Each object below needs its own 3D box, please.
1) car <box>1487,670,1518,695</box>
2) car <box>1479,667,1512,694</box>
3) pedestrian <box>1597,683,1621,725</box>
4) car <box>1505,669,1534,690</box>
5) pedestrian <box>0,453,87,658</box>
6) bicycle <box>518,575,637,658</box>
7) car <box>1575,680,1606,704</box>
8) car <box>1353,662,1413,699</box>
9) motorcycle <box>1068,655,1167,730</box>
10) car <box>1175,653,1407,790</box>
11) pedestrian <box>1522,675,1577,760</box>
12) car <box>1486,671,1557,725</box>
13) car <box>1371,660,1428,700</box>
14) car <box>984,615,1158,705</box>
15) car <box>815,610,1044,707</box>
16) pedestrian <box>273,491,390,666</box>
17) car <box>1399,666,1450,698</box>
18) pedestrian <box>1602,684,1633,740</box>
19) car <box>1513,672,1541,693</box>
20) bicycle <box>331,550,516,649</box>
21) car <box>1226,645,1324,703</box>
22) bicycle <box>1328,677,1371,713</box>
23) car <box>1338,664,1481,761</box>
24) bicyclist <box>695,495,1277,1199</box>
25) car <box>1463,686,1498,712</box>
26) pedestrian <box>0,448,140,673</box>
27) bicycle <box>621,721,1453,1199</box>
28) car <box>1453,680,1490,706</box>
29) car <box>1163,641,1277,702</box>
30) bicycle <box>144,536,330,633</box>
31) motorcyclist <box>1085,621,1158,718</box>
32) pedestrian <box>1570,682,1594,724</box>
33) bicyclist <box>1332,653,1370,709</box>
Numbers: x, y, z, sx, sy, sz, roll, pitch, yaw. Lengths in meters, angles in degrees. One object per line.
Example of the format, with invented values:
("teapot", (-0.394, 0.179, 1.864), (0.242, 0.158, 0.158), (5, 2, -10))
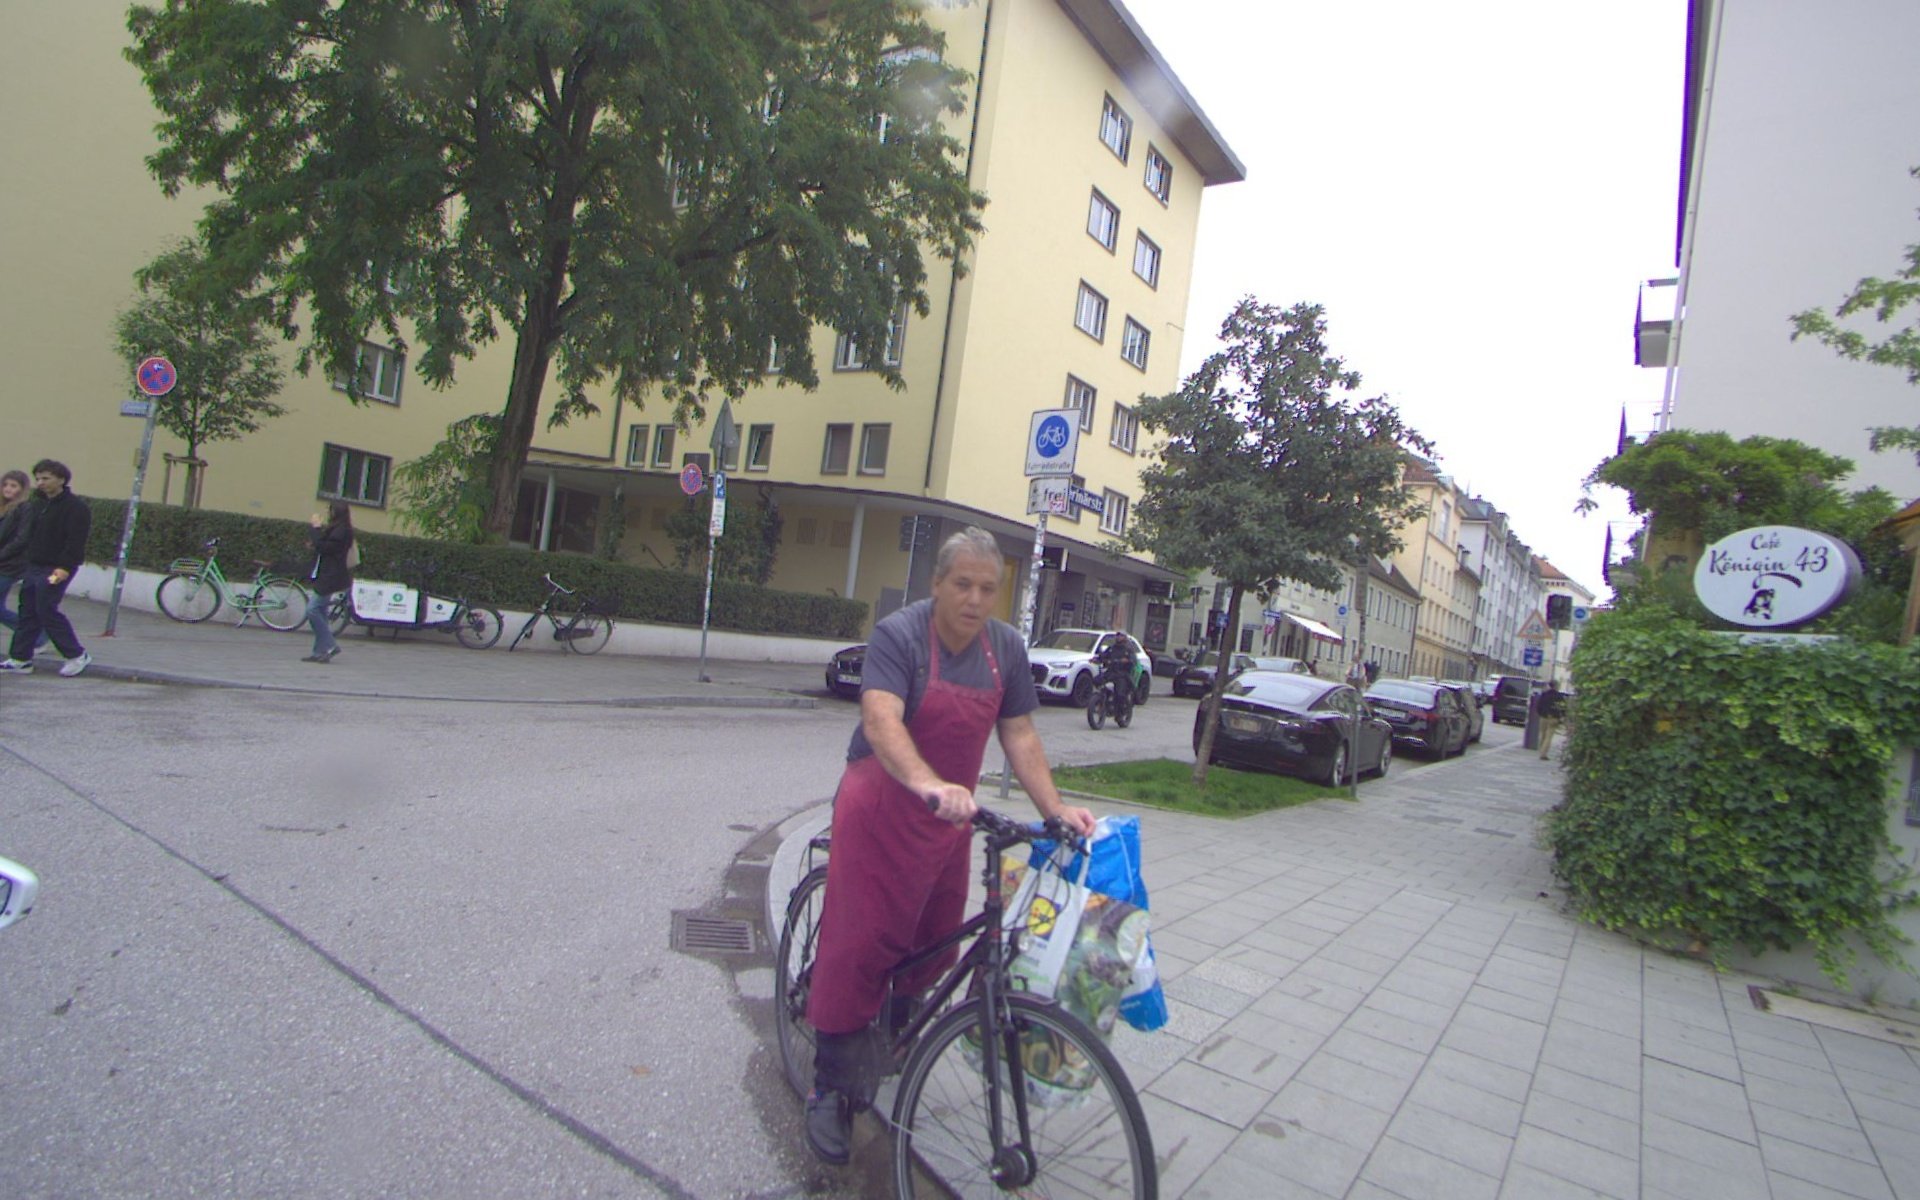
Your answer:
("car", (43.041, 6.579, 79.824), (1.760, 1.682, 3.992), (8, -1, 32))
("car", (40.338, 6.074, 75.704), (1.760, 1.682, 3.992), (8, -1, 32))
("pedestrian", (33.164, 5.319, 51.412), (0.775, 2.038, 0.830), (8, 1, 31))
("car", (48.955, 6.962, 87.956), (1.677, 1.527, 3.987), (8, 0, 35))
("pedestrian", (-8.624, -0.421, 9.160), (0.731, 1.767, 0.824), (8, 1, 44))
("bicycle", (-5.987, 0.279, 15.849), (0.453, 1.144, 1.683), (8, 0, 35))
("car", (48.016, 6.966, 76.577), (1.677, 1.527, 3.988), (8, 0, 34))
("car", (19.913, 3.797, 47.293), (1.714, 1.439, 3.990), (7, -1, 34))
("motorcycle", (2.685, 1.568, 17.011), (0.707, 1.112, 1.972), (8, 0, 36))
("car", (4.961, 1.700, 14.623), (1.938, 1.415, 4.494), (7, -1, 34))
("pedestrian", (12.980, 2.570, 22.147), (0.776, 1.735, 0.829), (8, 1, 36))
("car", (22.143, 3.874, 39.628), (1.791, 1.797, 3.988), (8, 0, 36))
("car", (22.217, 4.070, 50.780), (1.761, 1.682, 3.990), (8, -1, 34))
("car", (2.557, 1.325, 22.230), (1.830, 1.682, 4.305), (4, -1, 36))
("car", (-0.406, 1.102, 17.920), (1.638, 1.383, 4.320), (4, -3, 37))
("pedestrian", (-7.205, -0.244, 11.539), (0.756, 1.881, 0.848), (7, 1, 44))
("car", (25.273, 4.471, 54.677), (1.761, 1.431, 3.990), (7, -1, 35))
("pedestrian", (25.297, 4.315, 38.707), (0.744, 2.038, 0.829), (8, 1, 36))
("car", (52.283, 7.570, 92.736), (1.747, 1.616, 3.988), (8, 1, 35))
("bicycle", (-7.623, 0.010, 14.366), (2.157, 1.129, 0.634), (8, 0, -38))
("car", (10.467, 2.464, 33.225), (1.797, 1.548, 3.989), (8, -1, 36))
("bicycle", (12.454, 3.038, 32.130), (0.674, 1.037, 1.961), (8, 0, 37))
("car", (9.212, 2.255, 20.442), (1.697, 1.548, 3.988), (8, -1, 36))
("bicyclist", (0.021, 0.622, 2.610), (0.871, 1.629, 1.039), (7, 0, -37))
("car", (35.943, 6.800, 69.406), (1.665, 1.427, 3.494), (8, 1, 32))
("pedestrian", (-7.972, -0.329, 8.796), (0.650, 1.831, 0.989), (7, 0, 38))
("bicycle", (-0.052, 1.030, 2.642), (0.872, 1.032, 2.168), (7, 0, -36))
("car", (33.491, 6.059, 65.863), (1.665, 1.427, 3.494), (8, 1, 32))
("car", (7.764, 2.153, 29.787), (1.798, 1.417, 3.988), (7, -1, 36))
("bicycle", (-9.706, -0.197, 13.568), (1.917, 1.098, 0.528), (6, 0, -11))
("motorcyclist", (2.729, 1.174, 16.997), (0.703, 1.519, 0.896), (8, 0, 37))
("pedestrian", (32.066, 5.321, 51.865), (0.775, 2.038, 0.830), (8, 1, 31))
("bicyclist", (12.485, 2.600, 32.095), (0.686, 1.676, 1.003), (8, 0, 37))
